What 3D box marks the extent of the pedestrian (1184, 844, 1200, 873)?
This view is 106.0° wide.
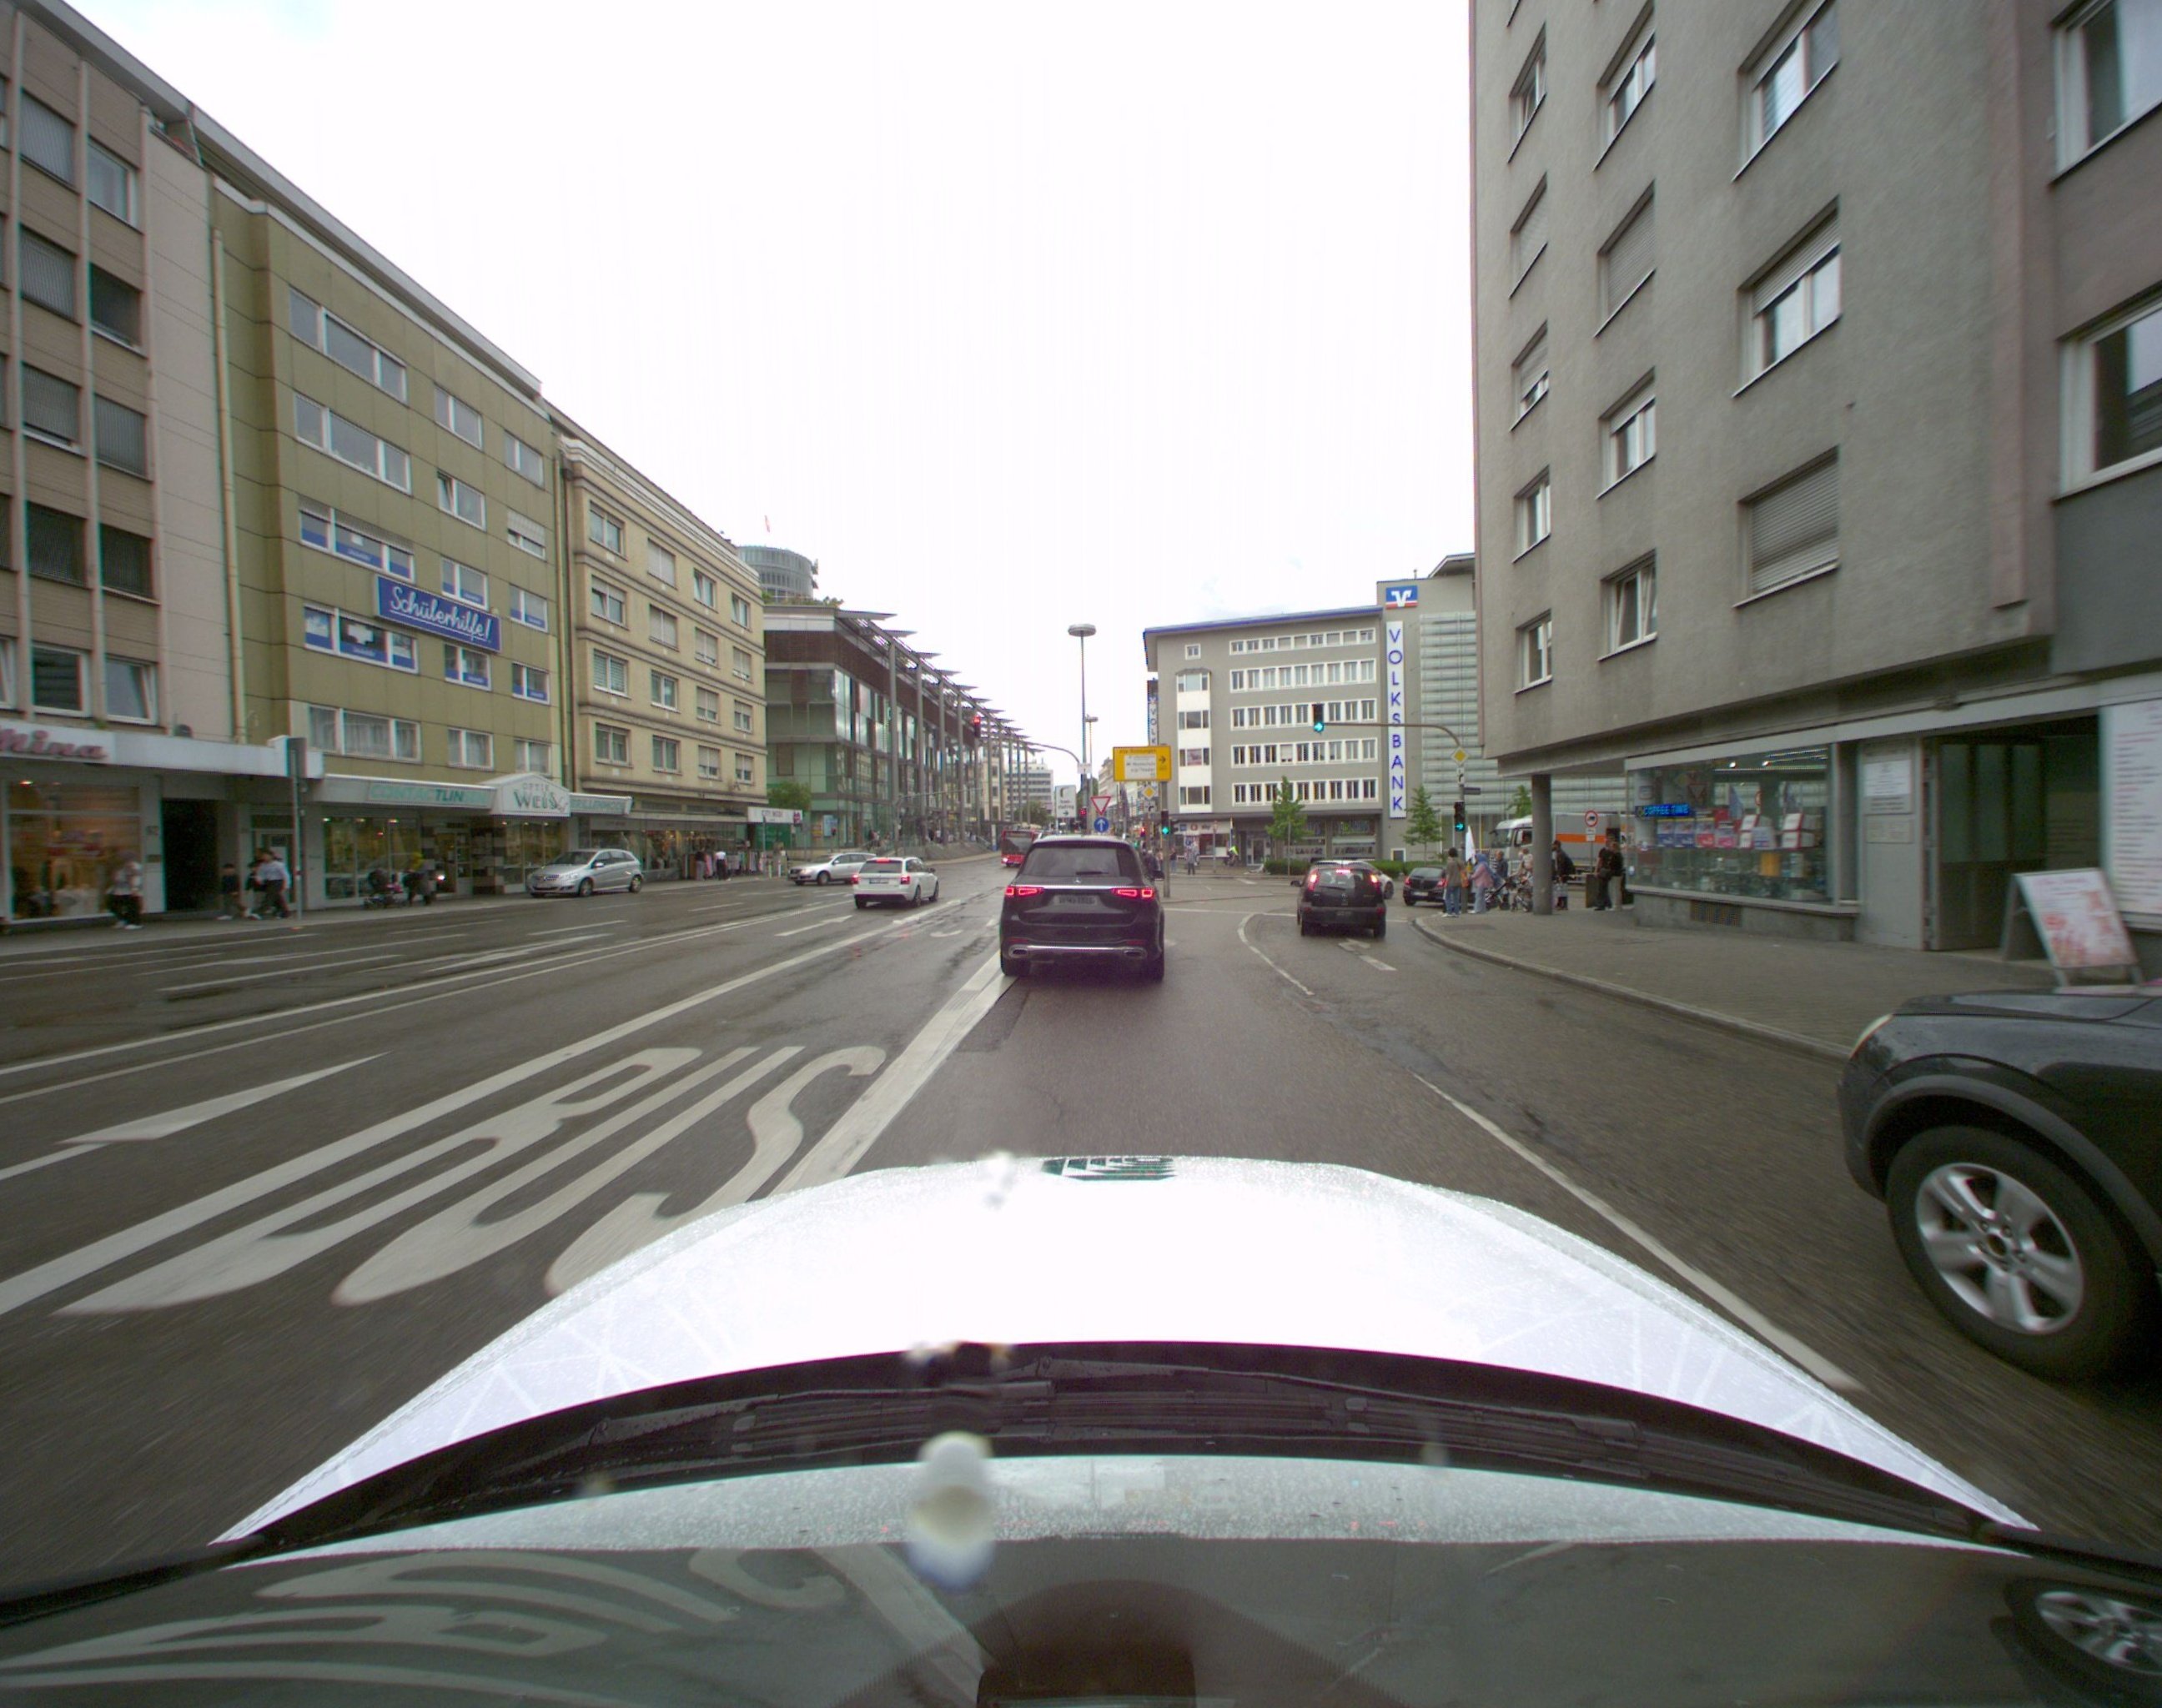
[{"bbox_3d":[6.732,0.261,49.567,0.828,1.778,0.617,1,0,-4],"label":"pedestrian"}]

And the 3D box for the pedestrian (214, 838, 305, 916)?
[{"bbox_3d":[-18.699,0.499,18.570,0.948,1.713,1.091,1,1,1],"label":"pedestrian"}]

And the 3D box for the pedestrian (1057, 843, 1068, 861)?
[{"bbox_3d":[-1.962,-0.244,84.982,0.949,1.886,0.812,1,1,9],"label":"pedestrian"}]

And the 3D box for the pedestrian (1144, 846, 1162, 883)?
[{"bbox_3d":[3.155,0.461,35.548,0.709,1.568,0.856,1,0,7],"label":"pedestrian"}]

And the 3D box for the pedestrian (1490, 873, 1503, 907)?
[{"bbox_3d":[12.485,1.083,24.475,0.258,1.000,0.475,-5,-2,25],"label":"pedestrian"}]

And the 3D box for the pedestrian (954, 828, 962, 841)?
[{"bbox_3d":[-16.416,-2.632,108.645,1.036,1.713,1.006,0,0,-3],"label":"pedestrian"}]

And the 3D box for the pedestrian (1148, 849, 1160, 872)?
[{"bbox_3d":[4.363,0.382,48.576,0.628,1.339,0.587,1,0,-4],"label":"pedestrian"}]

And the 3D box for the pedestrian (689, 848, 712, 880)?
[{"bbox_3d":[-18.384,0.462,39.365,0.782,1.536,0.681,1,0,0],"label":"pedestrian"}]

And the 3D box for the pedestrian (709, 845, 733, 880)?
[{"bbox_3d":[-17.374,0.407,39.292,0.850,1.627,0.765,0,0,-41],"label":"pedestrian"}]

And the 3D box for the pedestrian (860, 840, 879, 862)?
[{"bbox_3d":[-16.858,-0.226,64.782,1.029,1.713,1.014,1,0,29],"label":"pedestrian"}]

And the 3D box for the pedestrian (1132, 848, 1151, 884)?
[{"bbox_3d":[2.512,0.500,33.714,0.701,1.488,0.561,1,-1,6],"label":"pedestrian"}]

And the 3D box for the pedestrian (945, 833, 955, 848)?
[{"bbox_3d":[-15.917,-1.648,99.122,1.036,1.713,1.006,0,0,-3],"label":"pedestrian"}]

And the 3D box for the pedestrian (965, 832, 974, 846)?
[{"bbox_3d":[-14.136,-1.890,103.074,1.036,1.713,1.006,0,0,-3],"label":"pedestrian"}]

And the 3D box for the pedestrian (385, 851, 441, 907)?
[{"bbox_3d":[-18.556,0.687,22.648,0.664,1.484,1.065,1,1,1],"label":"pedestrian"}]

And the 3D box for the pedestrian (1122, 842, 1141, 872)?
[{"bbox_3d":[3.020,0.168,49.003,1.008,1.787,0.852,1,0,-4],"label":"pedestrian"}]

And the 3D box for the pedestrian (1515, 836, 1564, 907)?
[{"bbox_3d":[12.427,0.486,22.101,0.831,1.865,0.659,-3,-4,6],"label":"pedestrian"}]

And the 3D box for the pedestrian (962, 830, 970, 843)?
[{"bbox_3d":[-15.338,-2.383,108.750,0.935,1.713,0.991,0,0,-3],"label":"pedestrian"}]

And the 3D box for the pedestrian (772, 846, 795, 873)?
[{"bbox_3d":[-17.792,0.295,48.666,0.867,1.586,1.156,0,0,5],"label":"pedestrian"}]

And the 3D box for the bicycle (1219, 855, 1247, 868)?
[{"bbox_3d":[12.121,0.606,64.749,2.121,0.993,0.697,0,0,16],"label":"bicycle"}]

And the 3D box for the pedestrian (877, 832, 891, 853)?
[{"bbox_3d":[-16.769,-0.990,69.314,1.036,1.713,1.006,0,0,-3],"label":"pedestrian"}]

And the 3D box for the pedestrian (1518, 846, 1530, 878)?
[{"bbox_3d":[12.064,0.207,22.192,0.218,0.847,0.443,2,1,23],"label":"pedestrian"}]

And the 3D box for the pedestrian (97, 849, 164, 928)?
[{"bbox_3d":[-19.357,0.692,16.595,0.639,1.574,0.612,0,0,2],"label":"pedestrian"}]

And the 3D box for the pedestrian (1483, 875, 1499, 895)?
[{"bbox_3d":[12.104,0.920,24.047,0.368,0.571,0.461,-3,-1,21],"label":"pedestrian"}]

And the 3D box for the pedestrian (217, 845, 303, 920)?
[{"bbox_3d":[-19.683,0.659,19.549,0.948,1.695,1.087,1,1,1],"label":"pedestrian"}]

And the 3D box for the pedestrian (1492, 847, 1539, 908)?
[{"bbox_3d":[12.683,0.671,23.794,1.027,1.722,0.842,-2,-1,19],"label":"pedestrian"}]

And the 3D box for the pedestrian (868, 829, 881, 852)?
[{"bbox_3d":[-18.350,-1.185,72.395,0.871,1.980,0.850,0,0,2],"label":"pedestrian"}]

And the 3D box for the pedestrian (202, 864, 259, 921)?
[{"bbox_3d":[-19.501,0.879,18.690,0.532,1.249,0.721,1,1,1],"label":"pedestrian"}]

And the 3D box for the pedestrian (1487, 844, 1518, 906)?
[{"bbox_3d":[13.042,0.663,25.215,0.610,1.868,0.790,-4,-5,18],"label":"pedestrian"}]

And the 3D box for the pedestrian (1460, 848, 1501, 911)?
[{"bbox_3d":[10.626,0.680,21.667,0.736,1.635,0.600,-5,-5,43],"label":"pedestrian"}]

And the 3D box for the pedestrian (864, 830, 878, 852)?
[{"bbox_3d":[-18.413,-1.132,71.454,0.877,1.980,0.975,0,0,2],"label":"pedestrian"}]

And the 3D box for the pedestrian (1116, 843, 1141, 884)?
[{"bbox_3d":[2.036,0.392,34.623,0.973,1.672,0.917,1,0,7],"label":"pedestrian"}]
